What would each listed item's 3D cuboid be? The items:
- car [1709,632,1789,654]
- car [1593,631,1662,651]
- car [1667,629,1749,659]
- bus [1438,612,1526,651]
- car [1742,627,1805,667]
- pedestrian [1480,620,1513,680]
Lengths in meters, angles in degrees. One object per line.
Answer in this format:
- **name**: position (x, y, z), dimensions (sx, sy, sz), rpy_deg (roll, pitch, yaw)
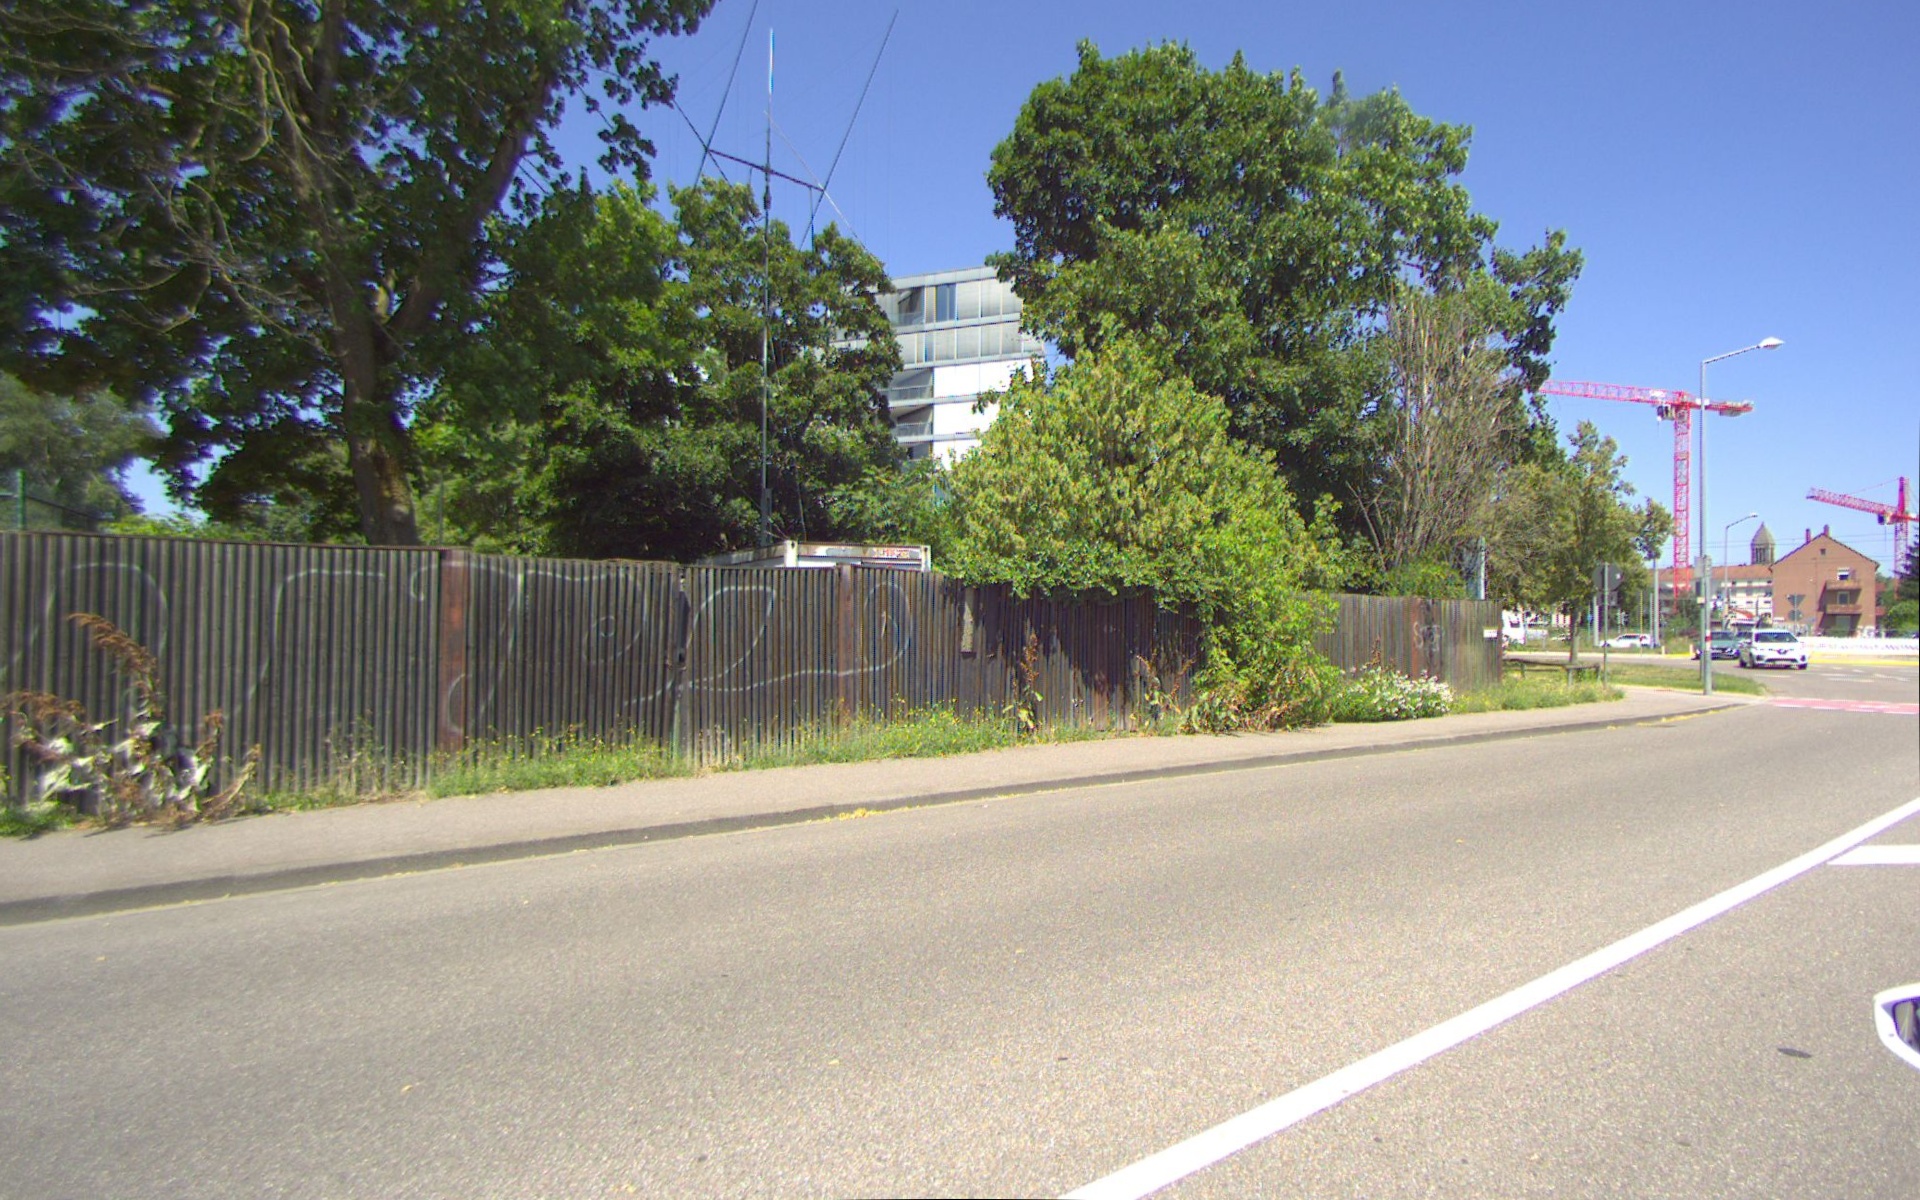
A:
- **car**: position (56.346, 3.058, 71.846), dimensions (4.255, 1.390, 1.748), rpy_deg (2, 0, 32)
- **car**: position (52.972, 3.267, 79.752), dimensions (1.741, 1.390, 4.273), rpy_deg (2, 0, -45)
- **car**: position (37.063, 2.187, 49.743), dimensions (4.282, 1.390, 1.737), rpy_deg (2, 0, -31)
- **bus**: position (46.526, 2.768, 89.792), dimensions (2.228, 3.215, 7.238), rpy_deg (2, 0, -22)
- **car**: position (32.640, 1.852, 40.395), dimensions (1.752, 1.547, 3.859), rpy_deg (-1, -2, 36)
- **pedestrian**: position (16.597, 1.529, 31.114), dimensions (0.625, 1.810, 0.969), rpy_deg (2, 0, 13)
